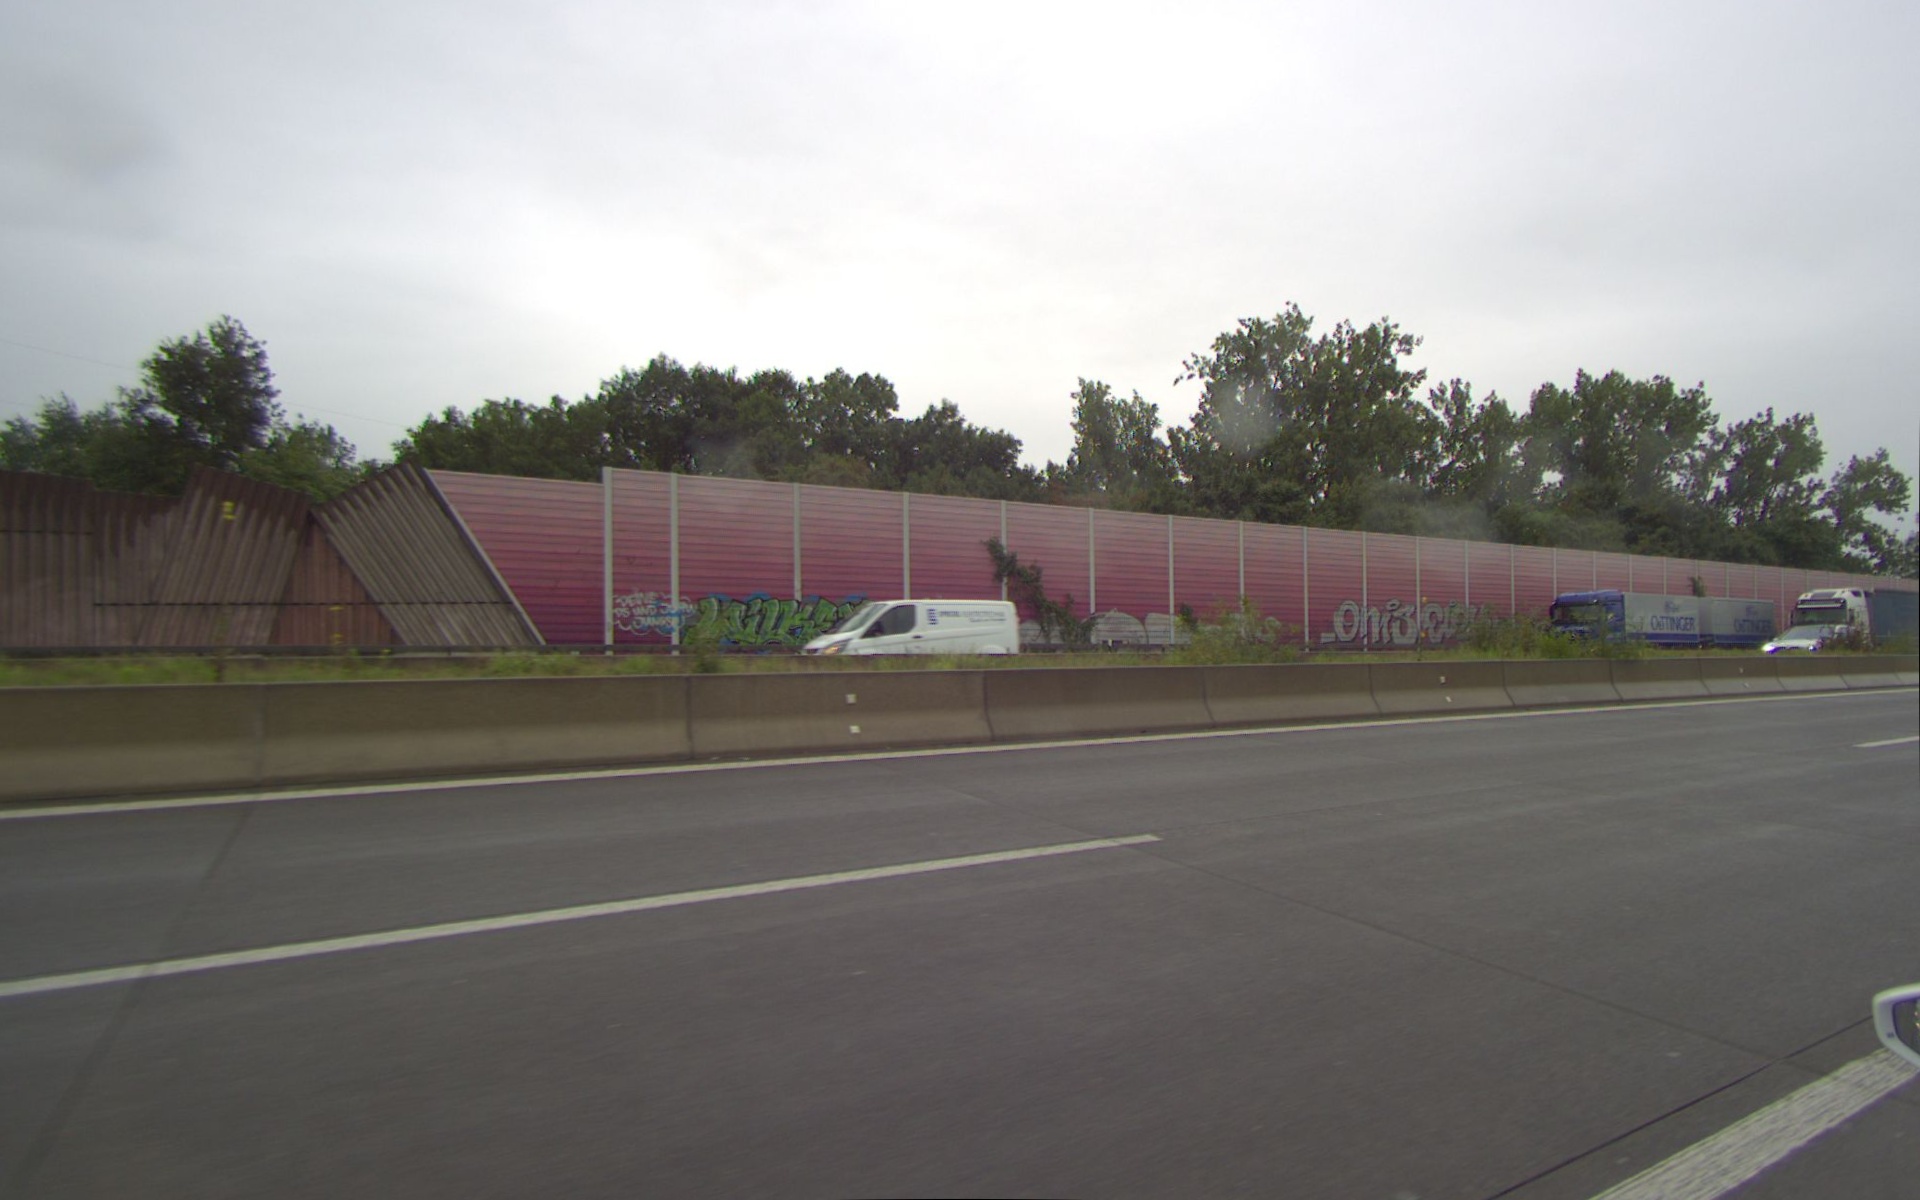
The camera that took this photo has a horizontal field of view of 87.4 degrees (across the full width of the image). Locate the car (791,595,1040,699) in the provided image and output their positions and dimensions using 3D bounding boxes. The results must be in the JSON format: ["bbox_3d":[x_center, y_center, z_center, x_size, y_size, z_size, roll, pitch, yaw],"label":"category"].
[{"bbox_3d":[-0.922,0.975,21.885,5.072,2.040,1.984,1,-1,-30],"label":"car"}]

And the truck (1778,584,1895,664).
[{"bbox_3d":[47.234,1.256,54.124,5.982,4.081,3.031,1,0,-31],"label":"truck"}]

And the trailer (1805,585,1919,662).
[{"bbox_3d":[53.692,1.346,58.073,13.964,4.081,3.030,1,0,-31],"label":"trailer"}]

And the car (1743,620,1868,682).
[{"bbox_3d":[30.295,1.786,35.958,4.736,2.040,1.984,1,-1,-31],"label":"car"}]

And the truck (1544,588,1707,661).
[{"bbox_3d":[33.861,1.228,50.915,10.313,3.395,2.699,1,0,-31],"label":"truck"}]

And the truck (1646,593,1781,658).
[{"bbox_3d":[41.962,1.418,55.845,8.601,3.395,2.957,1,0,-31],"label":"truck"}]
